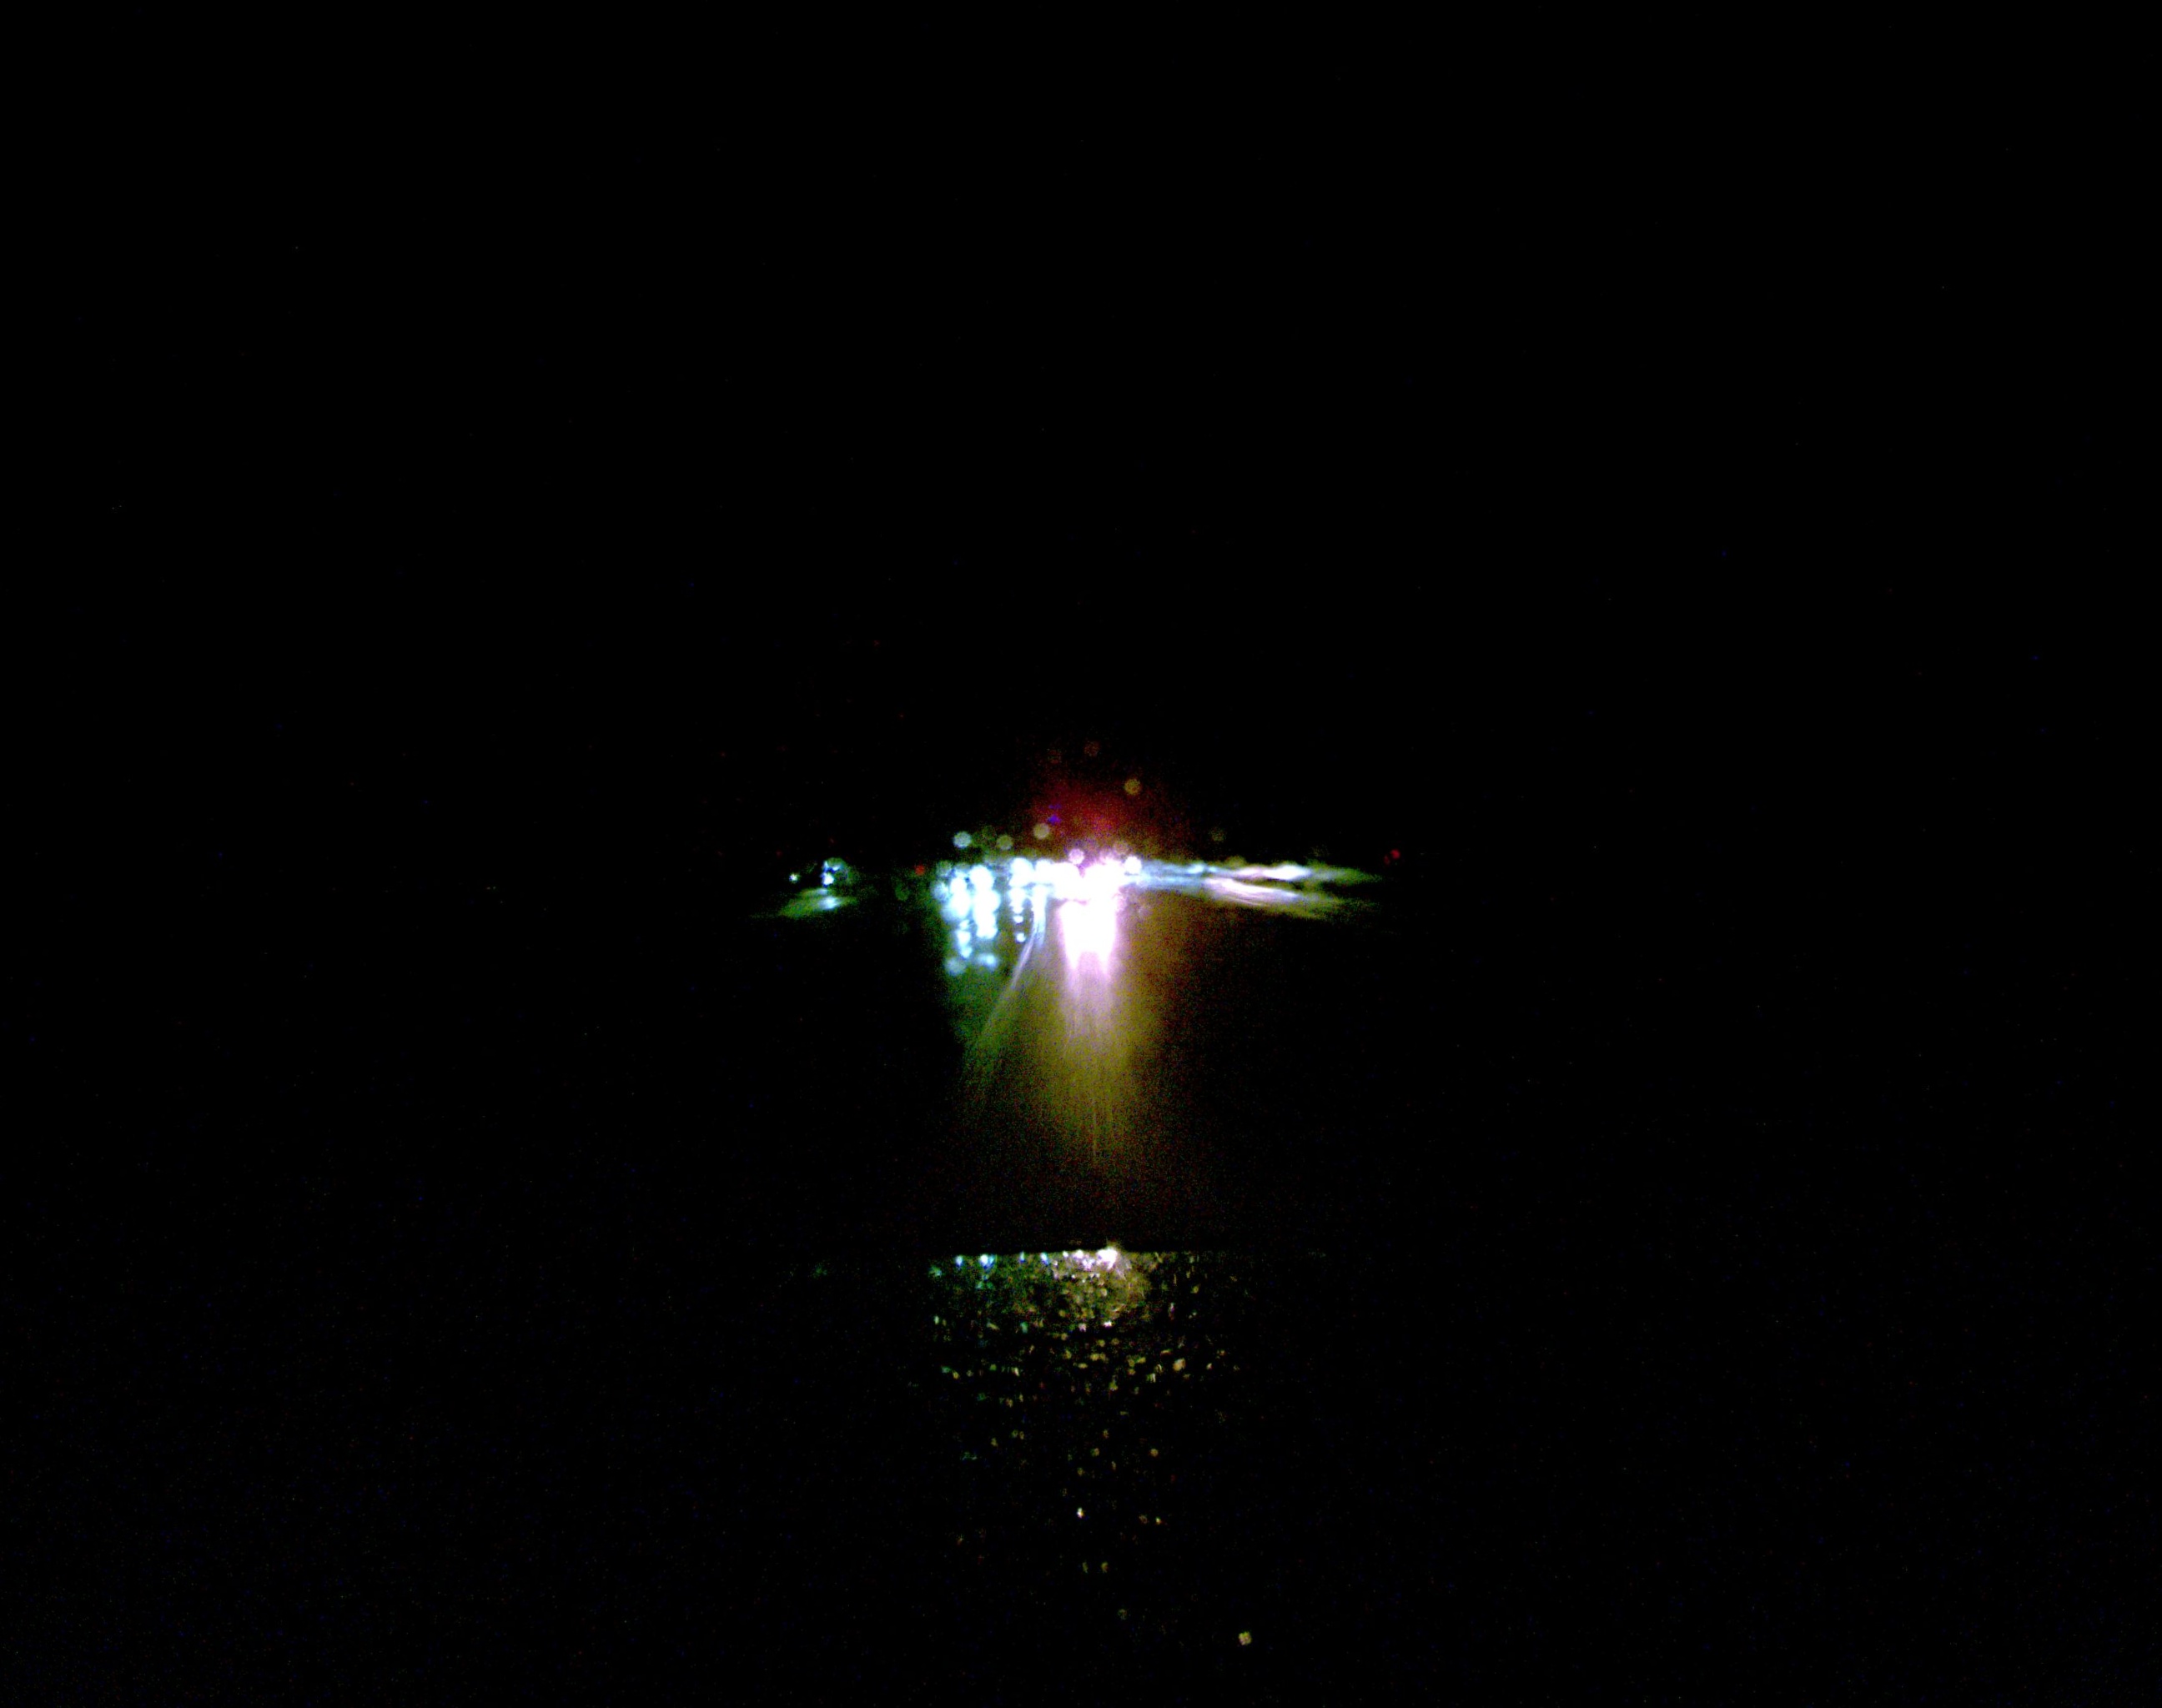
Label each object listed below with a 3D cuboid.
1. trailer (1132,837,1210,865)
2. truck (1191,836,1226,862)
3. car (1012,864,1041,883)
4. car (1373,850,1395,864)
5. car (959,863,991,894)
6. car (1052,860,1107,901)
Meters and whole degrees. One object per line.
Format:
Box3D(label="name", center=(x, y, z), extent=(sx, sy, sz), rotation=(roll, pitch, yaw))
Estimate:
Box3D(label="trailer", center=(16.394, -0.597, 138.972), extent=(13.678, 4.312, 2.543), rotation=(-3, 2, 24))
Box3D(label="truck", center=(22.840, -0.942, 136.129), extent=(5.551, 4.312, 2.543), rotation=(-3, 2, 24))
Box3D(label="car", center=(-4.056, 1.430, 56.248), extent=(1.761, 1.304, 4.083), rotation=(-3, -1, -8))
Box3D(label="car", center=(33.389, 0.351, 83.678), extent=(1.727, 1.390, 3.935), rotation=(1, 2, 30))
Box3D(label="car", center=(-6.673, 1.524, 47.970), extent=(1.742, 1.674, 4.119), rotation=(-5, -1, -7))
Box3D(label="car", center=(-0.001, 1.048, 31.295), extent=(1.686, 1.442, 3.644), rotation=(-4, 0, 8))
